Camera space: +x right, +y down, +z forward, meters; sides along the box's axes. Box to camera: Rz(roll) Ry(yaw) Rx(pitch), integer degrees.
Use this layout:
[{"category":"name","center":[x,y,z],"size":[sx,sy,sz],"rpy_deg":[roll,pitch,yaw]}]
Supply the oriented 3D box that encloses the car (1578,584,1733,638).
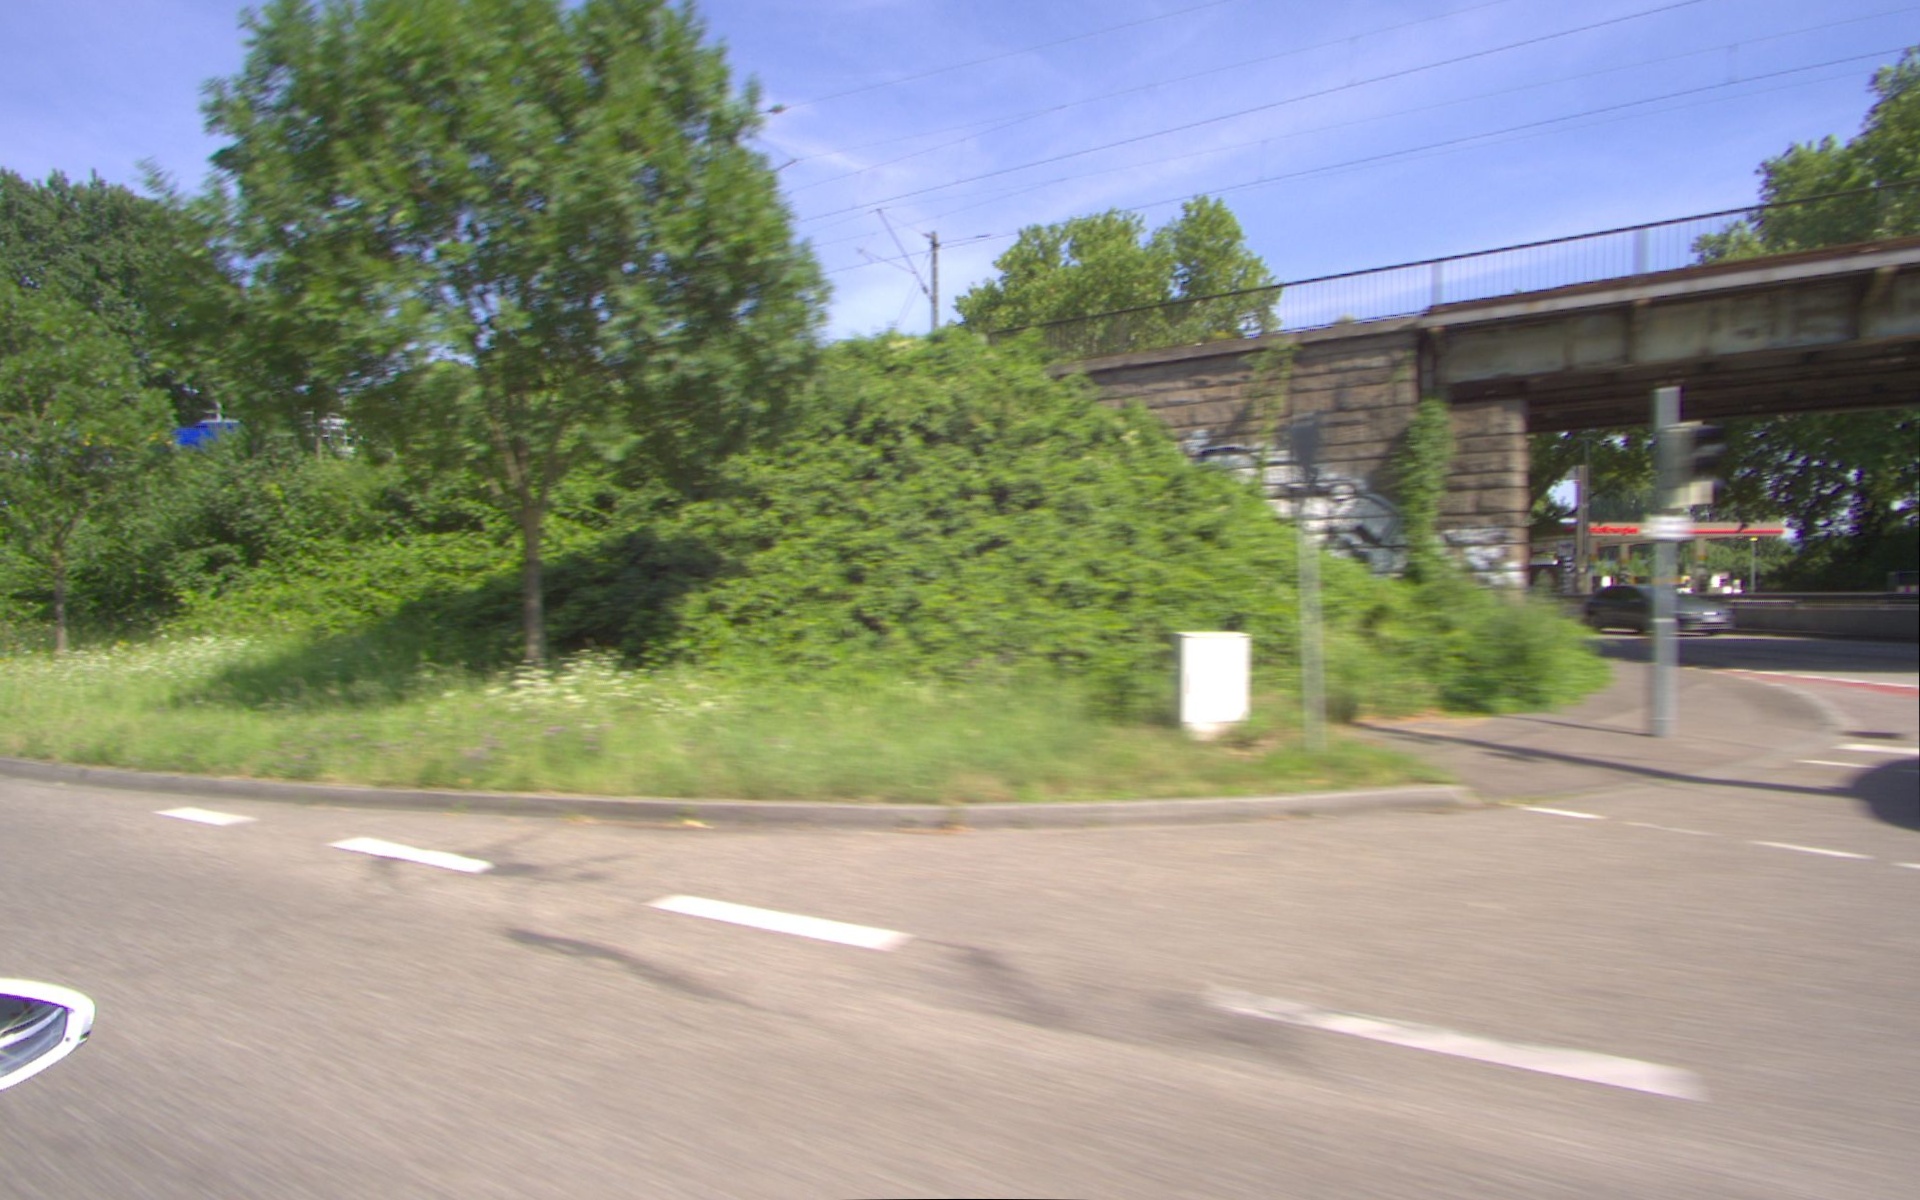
[{"category":"car","center":[20.058,0.296,29.093],"size":[1.659,1.461,3.999],"rpy_deg":[0,0,-1]}]

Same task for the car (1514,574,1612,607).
[{"category":"car","center":[30.219,-0.492,50.372],"size":[1.961,1.528,4.481],"rpy_deg":[2,1,-3]}]
